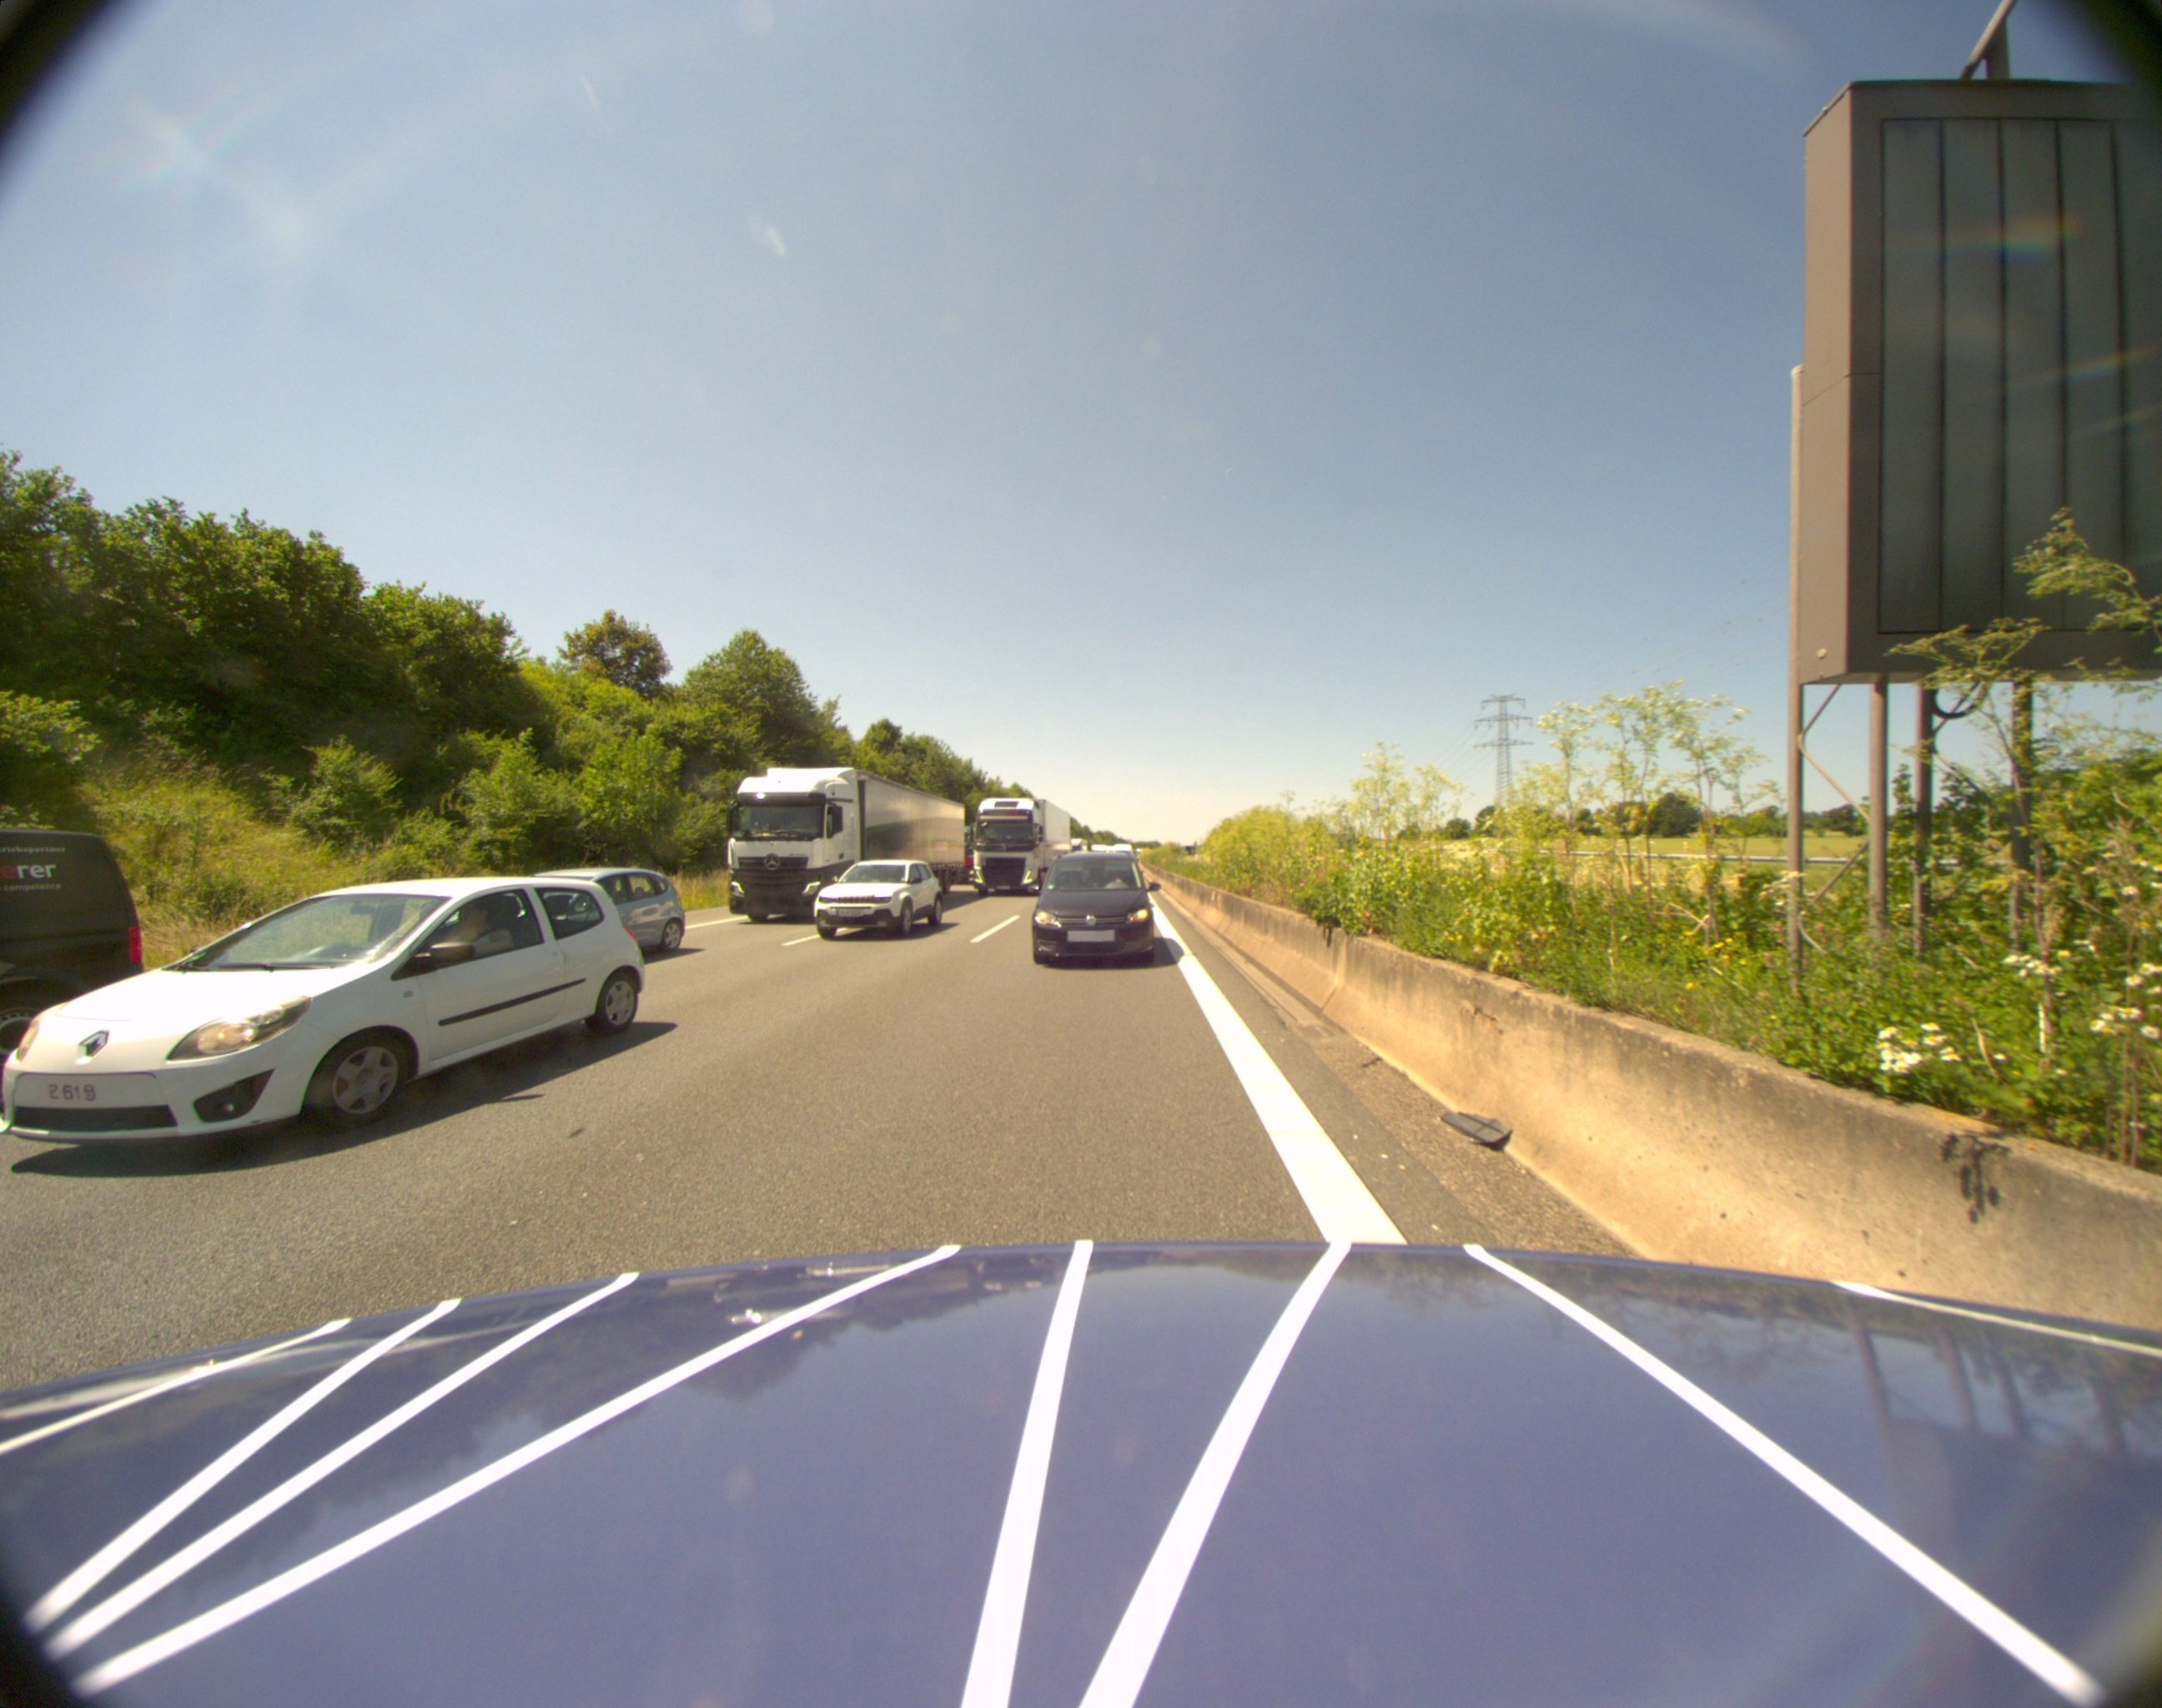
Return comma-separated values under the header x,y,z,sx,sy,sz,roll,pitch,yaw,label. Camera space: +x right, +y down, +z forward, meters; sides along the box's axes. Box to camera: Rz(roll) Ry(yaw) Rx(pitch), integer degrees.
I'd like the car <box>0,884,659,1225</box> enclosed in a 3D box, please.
x,y,z,sx,sy,sz,roll,pitch,yaw,label
-5.065,1.054,5.623,1.609,1.426,3.810,0,1,3,car

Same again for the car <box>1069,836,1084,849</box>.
x,y,z,sx,sy,sz,roll,pitch,yaw,label
-0.713,-1.868,122.036,1.998,2.002,4.000,-1,1,3,car

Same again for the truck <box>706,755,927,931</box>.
x,y,z,sx,sy,sz,roll,pitch,yaw,label
-7.149,-0.297,22.300,2.879,4.133,8.477,-1,1,4,truck

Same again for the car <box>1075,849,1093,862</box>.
x,y,z,sx,sy,sz,roll,pitch,yaw,label
0.297,0.152,81.265,1.650,1.336,3.382,-1,1,4,car

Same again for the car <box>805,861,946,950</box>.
x,y,z,sx,sy,sz,roll,pitch,yaw,label
-4.213,0.982,16.232,1.747,1.549,3.885,1,1,4,car

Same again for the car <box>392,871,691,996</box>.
x,y,z,sx,sy,sz,roll,pitch,yaw,label
-7.898,1.055,11.654,1.666,1.453,3.922,0,1,3,car

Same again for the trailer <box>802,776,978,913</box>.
x,y,z,sx,sy,sz,roll,pitch,yaw,label
-6.659,-0.344,29.271,2.879,4.133,12.077,-1,1,4,trailer

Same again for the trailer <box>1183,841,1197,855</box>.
x,y,z,sx,sy,sz,roll,pitch,yaw,label
30.421,-1.737,212.107,3.190,3.740,8.201,0,0,3,trailer

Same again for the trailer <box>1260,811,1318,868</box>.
x,y,z,sx,sy,sz,roll,pitch,yaw,label
19.544,-1.347,72.139,3.330,5.018,9.592,-1,1,3,trailer

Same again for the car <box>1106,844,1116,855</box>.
x,y,z,sx,sy,sz,roll,pitch,yaw,label
6.492,-1.054,165.801,1.998,2.302,4.230,-1,1,4,car

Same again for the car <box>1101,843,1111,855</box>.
x,y,z,sx,sy,sz,roll,pitch,yaw,label
4.838,-1.033,146.080,1.998,2.302,4.229,-1,1,2,car

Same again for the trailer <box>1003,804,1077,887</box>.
x,y,z,sx,sy,sz,roll,pitch,yaw,label
-1.998,-0.461,41.272,2.775,3.951,9.158,-1,1,4,trailer

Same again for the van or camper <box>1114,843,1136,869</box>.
x,y,z,sx,sy,sz,roll,pitch,yaw,label
4.336,0.137,73.921,1.956,2.368,4.037,-2,1,4,van or camper

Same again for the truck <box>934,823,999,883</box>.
x,y,z,sx,sy,sz,roll,pitch,yaw,label
-6.288,-0.084,42.420,2.299,3.128,5.676,-1,1,4,truck

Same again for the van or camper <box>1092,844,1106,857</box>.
x,y,z,sx,sy,sz,roll,pitch,yaw,label
3.059,-0.619,130.030,2.189,2.018,4.365,-1,1,4,van or camper

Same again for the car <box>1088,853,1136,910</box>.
x,y,z,sx,sy,sz,roll,pitch,yaw,label
1.032,0.821,24.136,1.357,1.630,2.994,-2,1,4,car

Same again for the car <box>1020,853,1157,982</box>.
x,y,z,sx,sy,sz,roll,pitch,yaw,label
0.259,0.829,12.494,1.758,1.571,5.292,0,1,4,car

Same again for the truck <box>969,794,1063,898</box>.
x,y,z,sx,sy,sz,roll,pitch,yaw,label
-2.603,-0.337,33.423,2.749,3.972,8.362,-1,1,4,truck

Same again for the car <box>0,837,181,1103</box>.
x,y,z,sx,sy,sz,roll,pitch,yaw,label
-8.914,0.877,4.187,1.918,1.929,4.857,0,1,4,car
